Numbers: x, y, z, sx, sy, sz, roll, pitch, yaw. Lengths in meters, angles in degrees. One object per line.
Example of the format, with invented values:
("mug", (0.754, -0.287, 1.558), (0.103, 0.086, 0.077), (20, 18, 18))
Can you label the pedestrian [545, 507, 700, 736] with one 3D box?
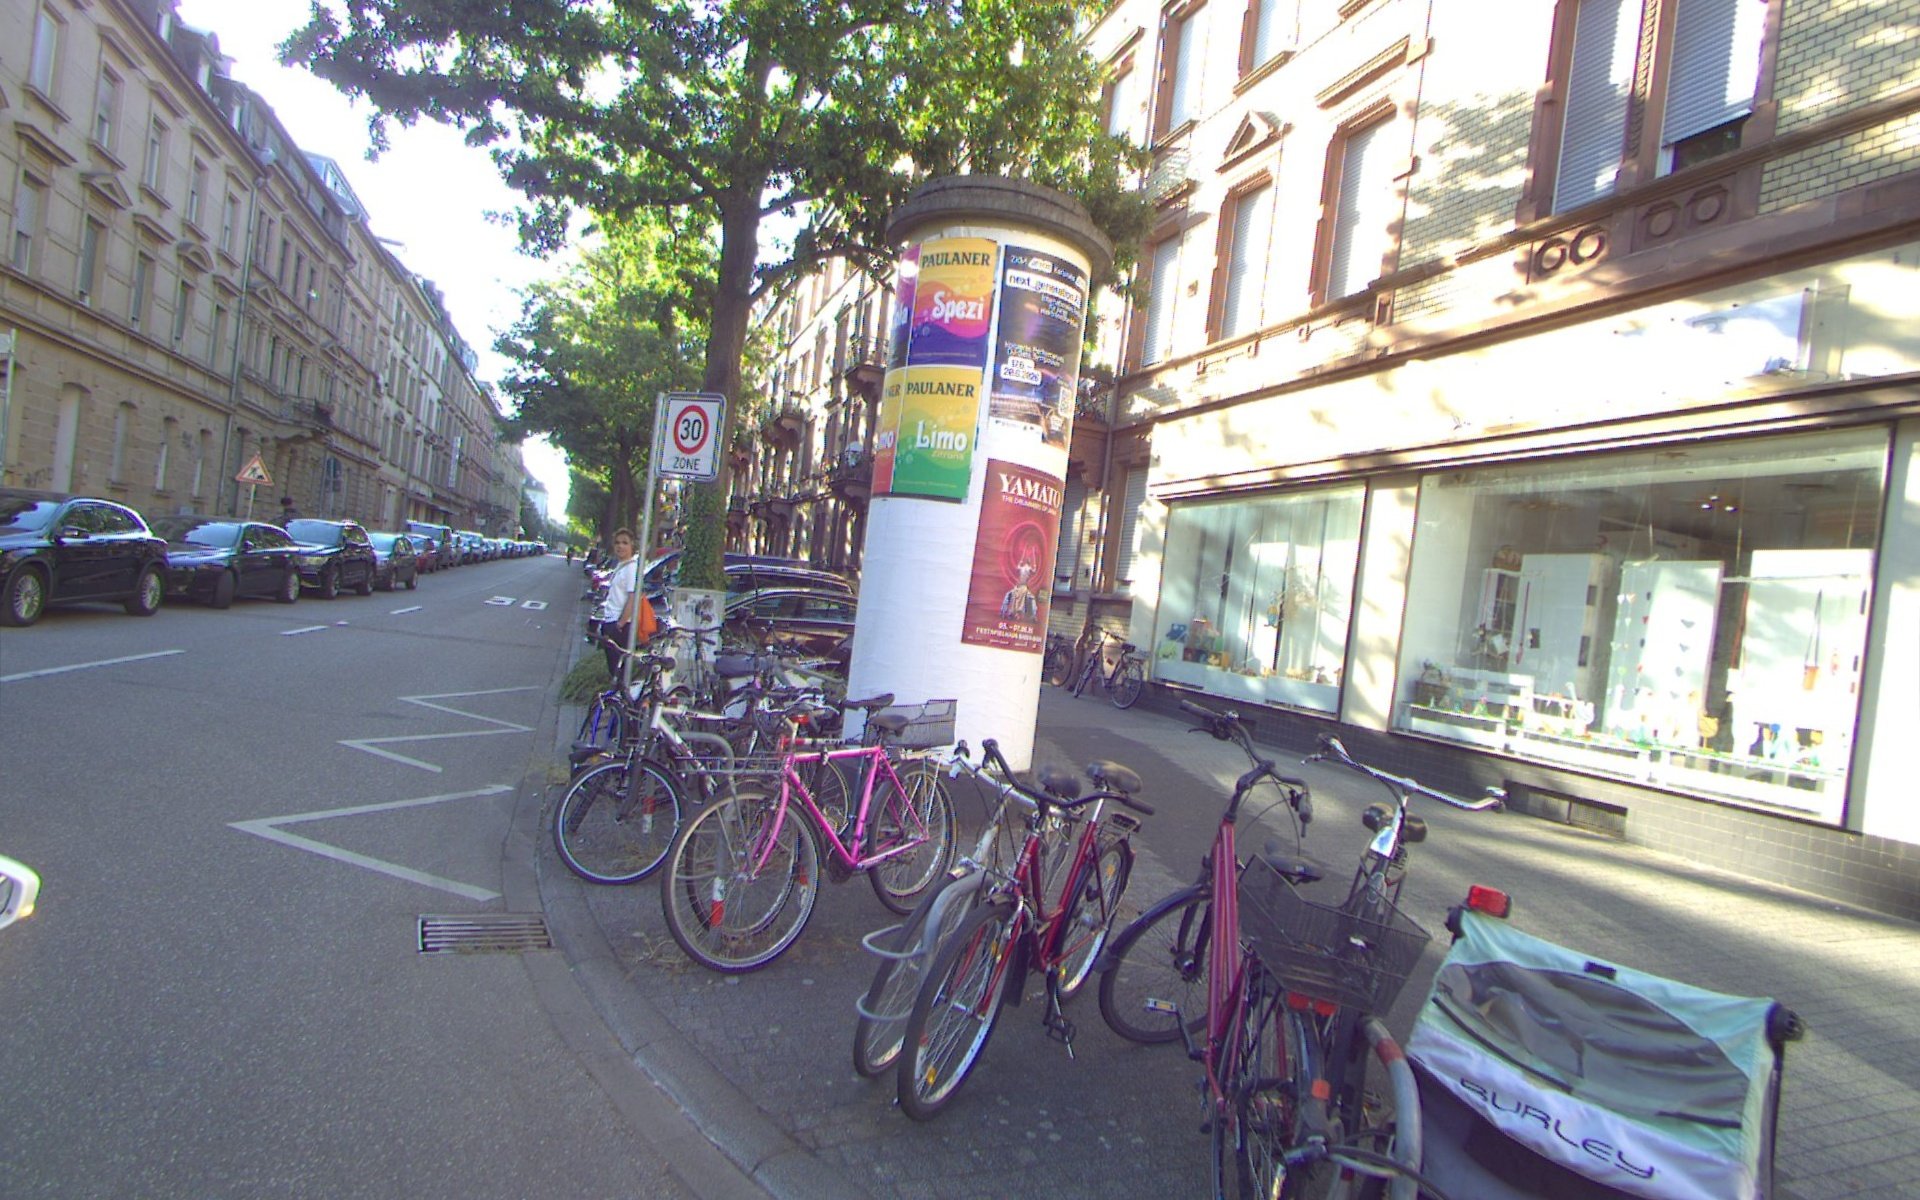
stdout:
("pedestrian", (-3.114, 0.203, 9.340), (1.101, 1.922, 0.839), (7, 1, -18))

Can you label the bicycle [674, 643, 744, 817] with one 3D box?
("bicycle", (-1.676, 0.817, 6.785), (0.348, 0.939, 1.521), (4, 1, -13))

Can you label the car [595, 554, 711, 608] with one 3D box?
("car", (-11.627, -0.703, 38.041), (3.968, 1.648, 1.795), (5, 1, -23))

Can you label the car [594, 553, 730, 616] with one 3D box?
("car", (-9.899, -0.516, 33.535), (4.136, 1.648, 1.830), (5, 1, -18))

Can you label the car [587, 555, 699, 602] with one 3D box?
("car", (-13.398, -0.897, 42.499), (4.296, 1.577, 1.839), (4, 3, -22))

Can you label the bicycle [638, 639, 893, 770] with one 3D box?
("bicycle", (-1.528, 0.847, 8.004), (1.909, 0.939, 0.353), (4, 1, -22))

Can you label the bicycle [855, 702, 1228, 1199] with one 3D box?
("bicycle", (0.413, 0.975, 3.452), (0.418, 1.108, 1.932), (5, 1, 30))

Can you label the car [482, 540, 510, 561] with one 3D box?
("car", (-38.041, -4.079, 82.606), (1.740, 1.491, 4.037), (6, 1, -22))

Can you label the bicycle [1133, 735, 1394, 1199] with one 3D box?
("bicycle", (0.737, 1.033, 2.779), (0.417, 1.108, 1.477), (4, 1, 9))

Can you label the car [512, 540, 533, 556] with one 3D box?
("car", (-51.073, -6.074, 117.439), (1.973, 1.504, 3.982), (7, -1, -22))

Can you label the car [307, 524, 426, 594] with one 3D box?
("car", (-15.645, -1.079, 26.742), (1.738, 1.520, 4.043), (6, 1, -17))

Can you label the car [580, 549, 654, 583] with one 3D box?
("car", (-22.710, -2.259, 66.685), (4.200, 1.818, 1.814), (5, 2, -41))

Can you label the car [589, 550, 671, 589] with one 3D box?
("car", (-18.658, -1.717, 56.833), (4.175, 1.800, 1.825), (5, 2, -22))

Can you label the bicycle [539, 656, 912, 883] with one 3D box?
("bicycle", (-1.180, 0.840, 5.432), (1.922, 1.000, 0.491), (4, 1, -43))

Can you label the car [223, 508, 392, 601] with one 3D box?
("car", (-13.995, -0.964, 21.885), (1.737, 1.620, 4.533), (6, 0, -16))

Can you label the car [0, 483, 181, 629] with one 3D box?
("car", (-11.240, -0.587, 11.871), (1.737, 1.506, 4.124), (6, 0, -16))

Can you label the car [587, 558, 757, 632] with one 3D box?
("car", (-7.507, -0.133, 26.168), (4.009, 1.529, 1.869), (5, 1, -22))

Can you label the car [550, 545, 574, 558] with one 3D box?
("car", (-76.054, -9.204, 192.212), (3.937, 1.882, 1.746), (8, 0, -13))

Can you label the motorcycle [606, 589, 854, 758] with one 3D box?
("motorcycle", (-1.935, 0.618, 8.458), (1.876, 1.250, 0.682), (5, 1, -21))

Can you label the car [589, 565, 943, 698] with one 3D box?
("car", (-2.815, 0.459, 14.705), (4.730, 1.431, 1.843), (6, 0, -19))

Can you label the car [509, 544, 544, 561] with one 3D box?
("car", (-54.704, -5.992, 127.063), (1.962, 1.503, 4.004), (6, -1, 11))

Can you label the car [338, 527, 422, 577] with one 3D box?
("car", (-20.818, -1.717, 36.269), (1.738, 1.520, 4.042), (6, 1, -18))

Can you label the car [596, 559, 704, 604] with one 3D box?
("car", (-12.435, -0.732, 40.348), (3.966, 1.453, 1.785), (4, 1, -22))

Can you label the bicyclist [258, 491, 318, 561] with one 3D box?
("bicyclist", (-19.047, -2.074, 28.550), (0.985, 1.811, 1.202), (7, 0, -20))

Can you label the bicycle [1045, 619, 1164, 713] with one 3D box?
("bicycle", (2.164, 0.964, 15.546), (0.662, 1.186, 2.582), (4, 1, -18))

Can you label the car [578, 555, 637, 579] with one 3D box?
("car", (-25.444, -2.376, 72.671), (3.811, 1.310, 1.707), (5, 1, -25))

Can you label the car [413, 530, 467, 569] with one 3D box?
("car", (-26.411, -2.539, 51.224), (1.736, 1.628, 4.362), (9, 0, -21))

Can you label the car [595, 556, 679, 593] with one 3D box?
("car", (-16.718, -1.324, 52.017), (3.966, 1.486, 1.725), (5, 1, -22))

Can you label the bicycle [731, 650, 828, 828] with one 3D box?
("bicycle", (-1.235, 0.868, 6.703), (0.349, 0.939, 1.519), (4, 1, -19))

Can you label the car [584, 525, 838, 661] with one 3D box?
("car", (-5.430, -0.117, 21.947), (4.970, 2.242, 1.982), (7, 0, -22))

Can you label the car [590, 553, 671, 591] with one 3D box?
("car", (-17.763, -1.518, 54.170), (3.966, 1.628, 1.725), (5, 1, -22))

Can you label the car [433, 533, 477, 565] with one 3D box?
("car", (-28.761, -2.890, 57.438), (1.742, 1.484, 3.978), (9, 0, -22))

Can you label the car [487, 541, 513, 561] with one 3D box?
("car", (-39.739, -4.225, 87.032), (1.740, 1.491, 4.037), (6, 1, -22))

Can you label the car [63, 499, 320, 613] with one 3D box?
("car", (-12.640, -0.691, 16.953), (1.737, 1.470, 4.536), (6, 0, -15))

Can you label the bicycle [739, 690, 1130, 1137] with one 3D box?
("bicycle", (0.046, 0.940, 3.682), (0.418, 1.108, 1.932), (5, 1, 30))

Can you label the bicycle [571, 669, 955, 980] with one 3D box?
("bicycle", (-0.782, 0.892, 4.642), (0.495, 1.065, 1.931), (5, 1, 32))

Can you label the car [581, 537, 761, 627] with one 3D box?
("car", (-8.274, -0.495, 28.789), (4.627, 2.059, 1.868), (5, 1, -24))

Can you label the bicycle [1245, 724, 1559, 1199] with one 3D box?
("bicycle", (1.362, 1.075, 3.380), (0.563, 1.108, 1.477), (4, 1, 11))

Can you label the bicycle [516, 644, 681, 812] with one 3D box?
("bicycle", (-2.376, 0.802, 6.763), (0.347, 0.939, 1.413), (4, 0, 9))

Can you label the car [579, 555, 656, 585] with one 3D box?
("car", (-20.883, -1.817, 61.397), (4.180, 1.422, 1.823), (5, 1, -26))

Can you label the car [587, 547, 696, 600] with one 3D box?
("car", (-14.218, -1.183, 44.902), (4.397, 1.951, 1.838), (4, 3, -24))

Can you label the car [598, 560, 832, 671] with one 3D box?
("car", (-4.689, 0.298, 19.216), (4.062, 1.553, 1.716), (7, 0, -21))

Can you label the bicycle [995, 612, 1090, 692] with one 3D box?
("bicycle", (1.427, 0.888, 18.055), (0.662, 1.186, 2.582), (4, 1, -18))

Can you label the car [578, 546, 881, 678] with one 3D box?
("car", (-3.865, 0.219, 16.961), (4.634, 1.700, 1.843), (6, 0, -20))

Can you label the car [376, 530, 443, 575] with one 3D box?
("car", (-22.150, -1.892, 40.624), (1.575, 1.493, 3.683), (9, 0, -19))

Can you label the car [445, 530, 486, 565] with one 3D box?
("car", (-30.342, -3.214, 61.835), (1.740, 1.865, 4.505), (6, 1, -22))

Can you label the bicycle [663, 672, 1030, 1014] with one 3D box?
("bicycle", (-0.369, 0.906, 4.394), (0.418, 1.108, 1.931), (5, 1, 32))

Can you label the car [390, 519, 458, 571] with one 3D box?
("car", (-24.281, -2.480, 45.716), (1.813, 1.966, 5.234), (9, 0, -21))

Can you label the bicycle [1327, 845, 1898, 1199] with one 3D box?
("bicycle", (1.366, 1.158, 2.116), (0.993, 1.039, 0.729), (7, 0, -43))
